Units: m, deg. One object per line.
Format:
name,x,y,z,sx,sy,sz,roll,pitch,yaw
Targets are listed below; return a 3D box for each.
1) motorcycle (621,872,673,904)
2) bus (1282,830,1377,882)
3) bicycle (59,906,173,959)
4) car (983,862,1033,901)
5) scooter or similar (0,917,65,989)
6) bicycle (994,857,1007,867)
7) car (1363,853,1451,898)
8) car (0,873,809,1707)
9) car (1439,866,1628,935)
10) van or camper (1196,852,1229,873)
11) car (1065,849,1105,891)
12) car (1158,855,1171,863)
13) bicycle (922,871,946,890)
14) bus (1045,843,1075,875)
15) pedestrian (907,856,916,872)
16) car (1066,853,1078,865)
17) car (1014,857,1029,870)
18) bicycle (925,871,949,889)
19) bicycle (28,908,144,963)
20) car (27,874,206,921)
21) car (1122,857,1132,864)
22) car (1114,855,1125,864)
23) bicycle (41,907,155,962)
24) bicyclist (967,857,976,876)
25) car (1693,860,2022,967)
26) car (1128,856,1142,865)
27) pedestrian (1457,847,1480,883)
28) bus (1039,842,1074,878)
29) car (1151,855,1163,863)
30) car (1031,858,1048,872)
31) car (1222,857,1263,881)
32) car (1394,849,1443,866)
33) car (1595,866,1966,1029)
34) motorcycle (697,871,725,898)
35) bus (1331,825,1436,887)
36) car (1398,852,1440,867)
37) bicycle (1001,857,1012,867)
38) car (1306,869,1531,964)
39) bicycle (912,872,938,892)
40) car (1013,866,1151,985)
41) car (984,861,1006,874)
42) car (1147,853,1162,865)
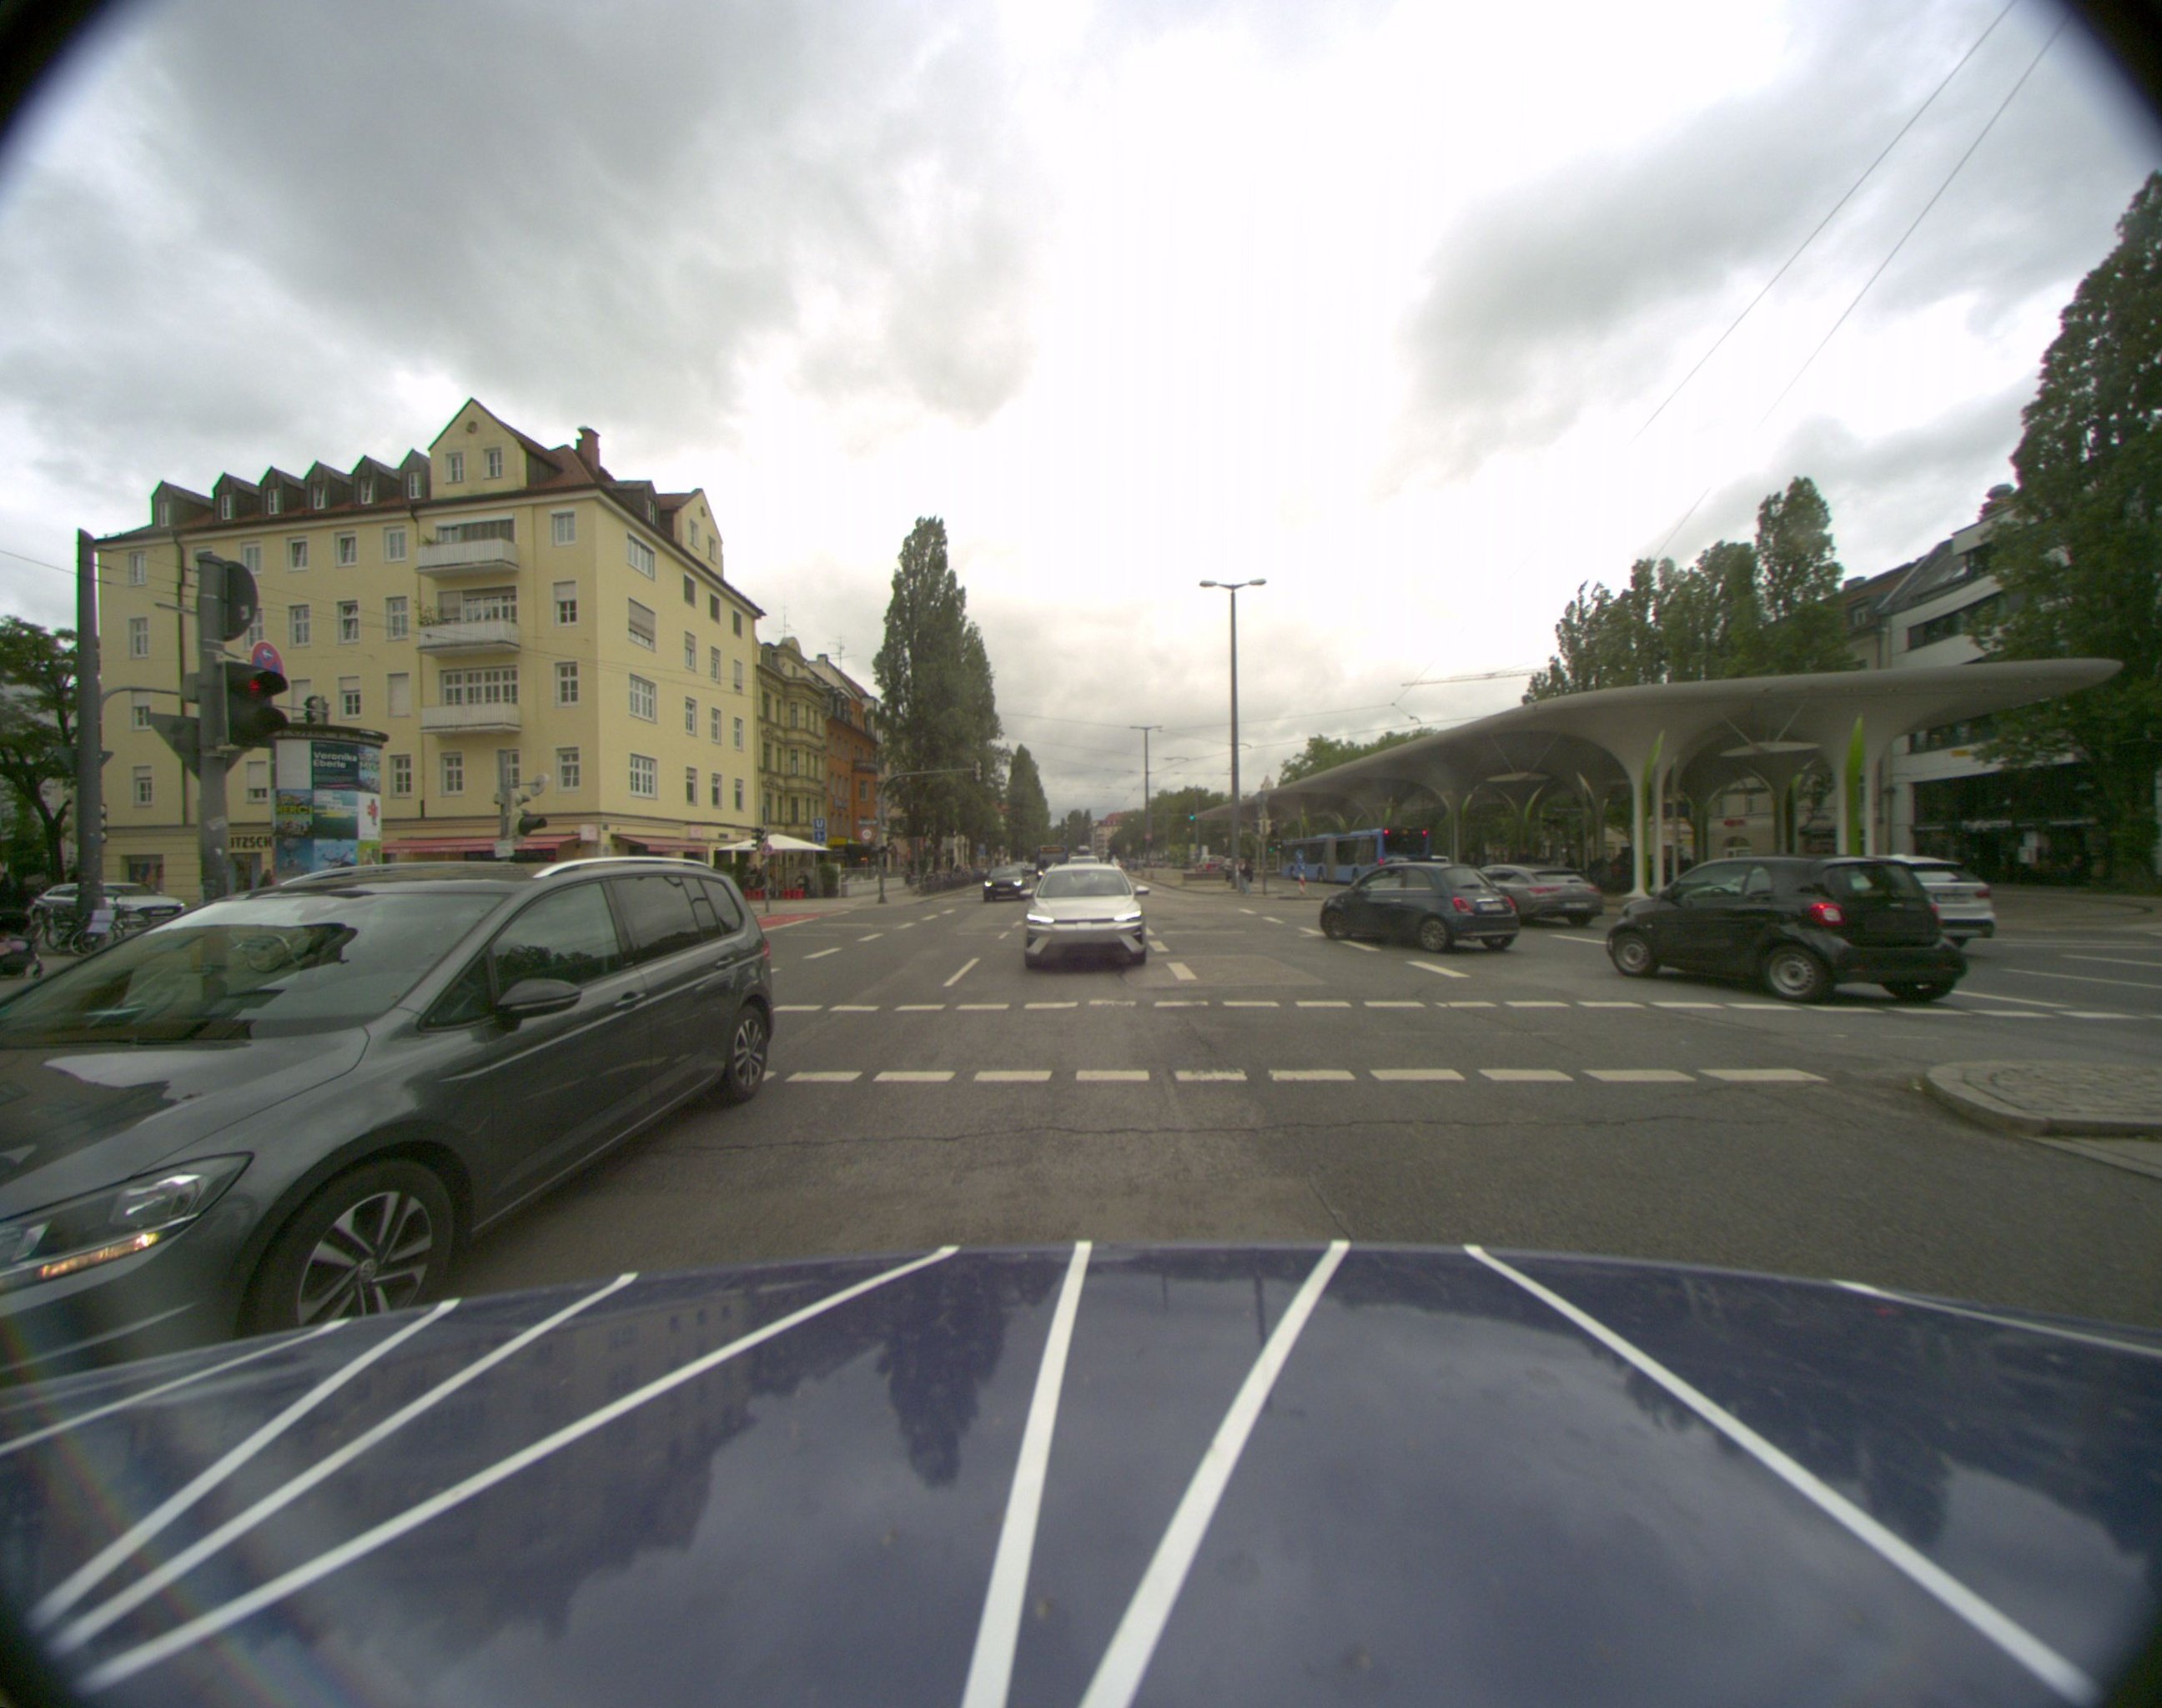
motorcycle,-17.626,1.375,30.886,1.769,1.193,0.541,-1,1,-30
bus,15.991,0.119,49.955,2.667,2.990,10.514,1,0,-1
bicycle,-20.335,1.642,16.032,1.584,1.027,0.357,-1,0,-14
car,-3.161,1.182,33.682,1.780,1.495,3.969,-1,1,0
scooter or similar,-15.470,1.420,11.062,0.820,0.988,0.594,-1,-3,23
bicycle,-9.480,0.969,89.599,1.740,1.096,0.360,-1,0,35
car,12.831,0.815,30.140,1.787,1.652,4.000,-1,0,0
car,-3.085,1.003,3.605,1.776,1.637,4.708,-3,0,1
car,10.745,1.042,18.461,1.999,1.403,4.167,-1,0,-2
van or camper,11.898,0.788,69.011,1.933,1.815,5.440,-1,0,-2
car,0.185,0.829,41.210,1.999,2.100,4.000,-1,0,0
car,15.201,0.929,138.712,1.864,1.517,4.232,0,0,0
bicycle,-8.093,1.455,41.763,1.837,0.990,0.349,0,1,45
bus,-2.062,0.520,78.587,2.637,2.956,8.534,-3,0,0
pedestrian,-18.043,1.056,80.939,0.748,1.704,1.017,-1,0,0
car,-2.074,1.167,179.603,2.806,2.835,5.114,-1,0,0
car,-8.208,1.275,105.286,1.737,1.651,4.502,-1,0,-1
bicycle,-8.207,1.463,43.270,0.349,0.990,1.837,-1,1,-44
bicycle,-19.852,1.614,15.173,1.584,1.027,0.248,-1,0,-14
car,-31.020,1.433,24.486,3.993,1.412,1.898,-1,-5,12
car,11.350,1.536,187.112,1.868,1.629,4.677,1,0,-2
car,7.468,1.050,148.339,1.791,1.844,4.217,0,0,-2
bicycle,-19.933,1.619,15.428,1.584,1.027,0.248,-1,0,-14
bicyclist,-9.713,1.099,67.547,0.681,1.594,0.939,-1,0,0
car,13.364,0.925,13.502,1.703,1.586,4.000,1,0,-1
car,10.804,1.274,151.730,2.181,1.876,6.155,-1,0,-2
pedestrian,18.163,0.516,35.643,0.632,1.665,0.746,-2,1,-35
bus,-2.137,0.516,69.547,2.637,2.956,9.466,-3,0,0
car,14.831,1.034,148.835,1.999,1.561,4.101,-1,0,0
car,-4.989,1.361,91.806,1.780,1.515,3.969,-2,1,0
car,10.558,0.935,49.910,1.668,1.499,4.281,-1,0,-1
car,39.637,0.446,89.248,4.923,1.936,1.872,-1,0,11
car,7.762,0.917,8.770,1.508,1.525,2.835,-1,0,-8
motorcycle,-16.879,1.378,34.681,0.487,1.149,1.571,-1,0,1
bus,16.052,0.106,40.958,2.667,2.990,7.513,1,0,1
car,38.299,0.605,86.159,3.994,1.606,1.832,-1,0,8
bicycle,-8.853,0.971,90.250,0.360,1.096,1.740,-1,0,-44
car,5.835,0.993,13.576,1.552,1.437,3.532,0,-1,-25
bicycle,-8.112,1.451,39.550,1.837,0.990,0.349,0,1,45
car,0.063,1.012,12.769,1.812,1.496,4.953,-2,0,1
car,-9.442,1.458,83.392,1.999,1.432,4.528,-1,0,-2
car,11.516,0.784,119.238,1.911,1.829,3.868,-1,0,0
